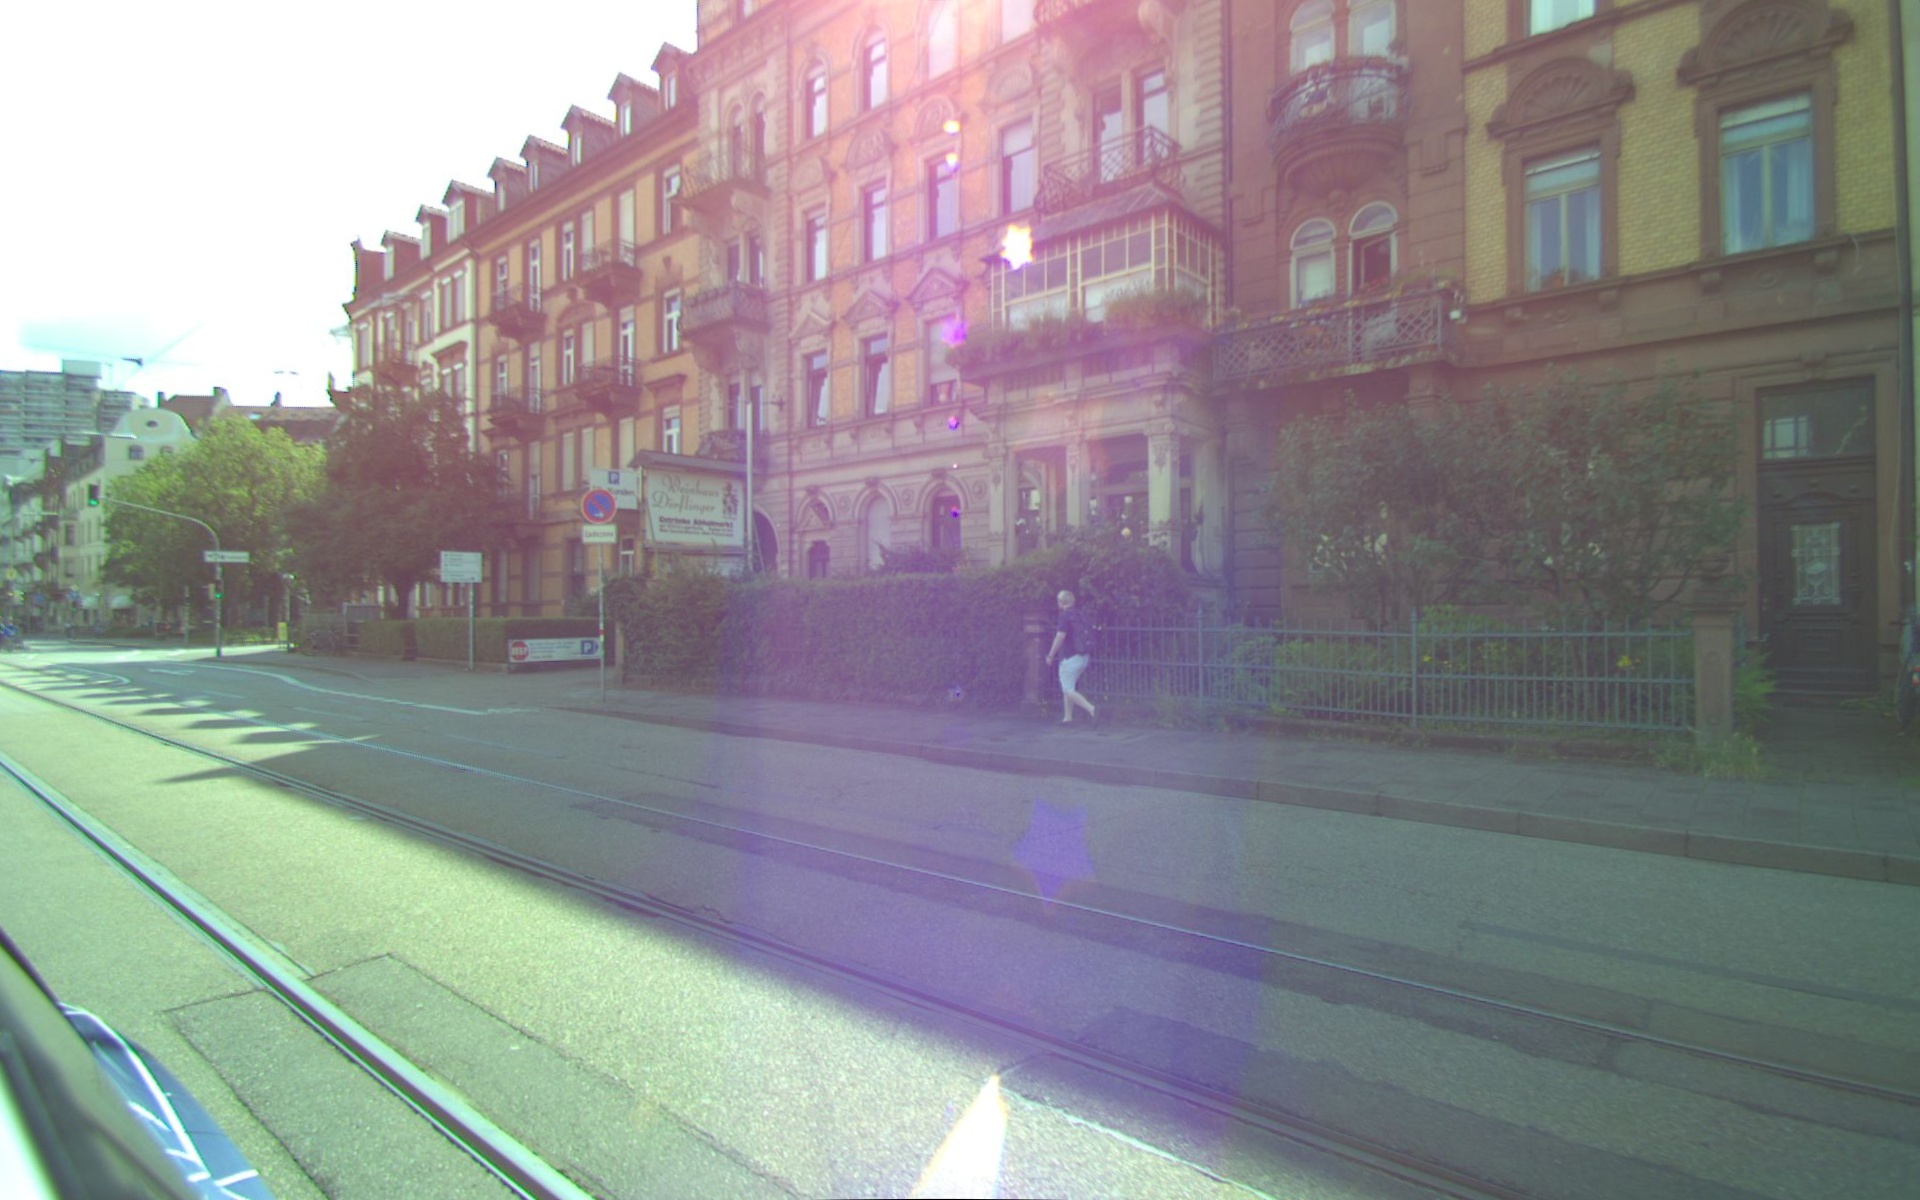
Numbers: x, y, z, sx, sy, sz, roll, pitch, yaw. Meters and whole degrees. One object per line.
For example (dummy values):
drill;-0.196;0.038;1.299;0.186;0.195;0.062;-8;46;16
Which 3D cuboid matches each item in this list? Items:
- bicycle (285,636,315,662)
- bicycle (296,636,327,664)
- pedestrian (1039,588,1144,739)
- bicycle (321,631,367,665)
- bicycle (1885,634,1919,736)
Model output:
bicycle;-24.656;1.811;37.791;1.826;0.939;0.553;-1;-2;44
bicycle;-23.222;1.769;36.218;1.826;0.939;0.553;-1;-2;44
pedestrian;1.550;0.729;12.004;1.150;1.716;0.483;-1;-1;39
bicycle;-21.618;1.666;35.546;0.496;1.140;1.291;-1;-1;40
bicycle;9.759;0.830;10.277;0.422;0.940;1.923;-1;-2;40
